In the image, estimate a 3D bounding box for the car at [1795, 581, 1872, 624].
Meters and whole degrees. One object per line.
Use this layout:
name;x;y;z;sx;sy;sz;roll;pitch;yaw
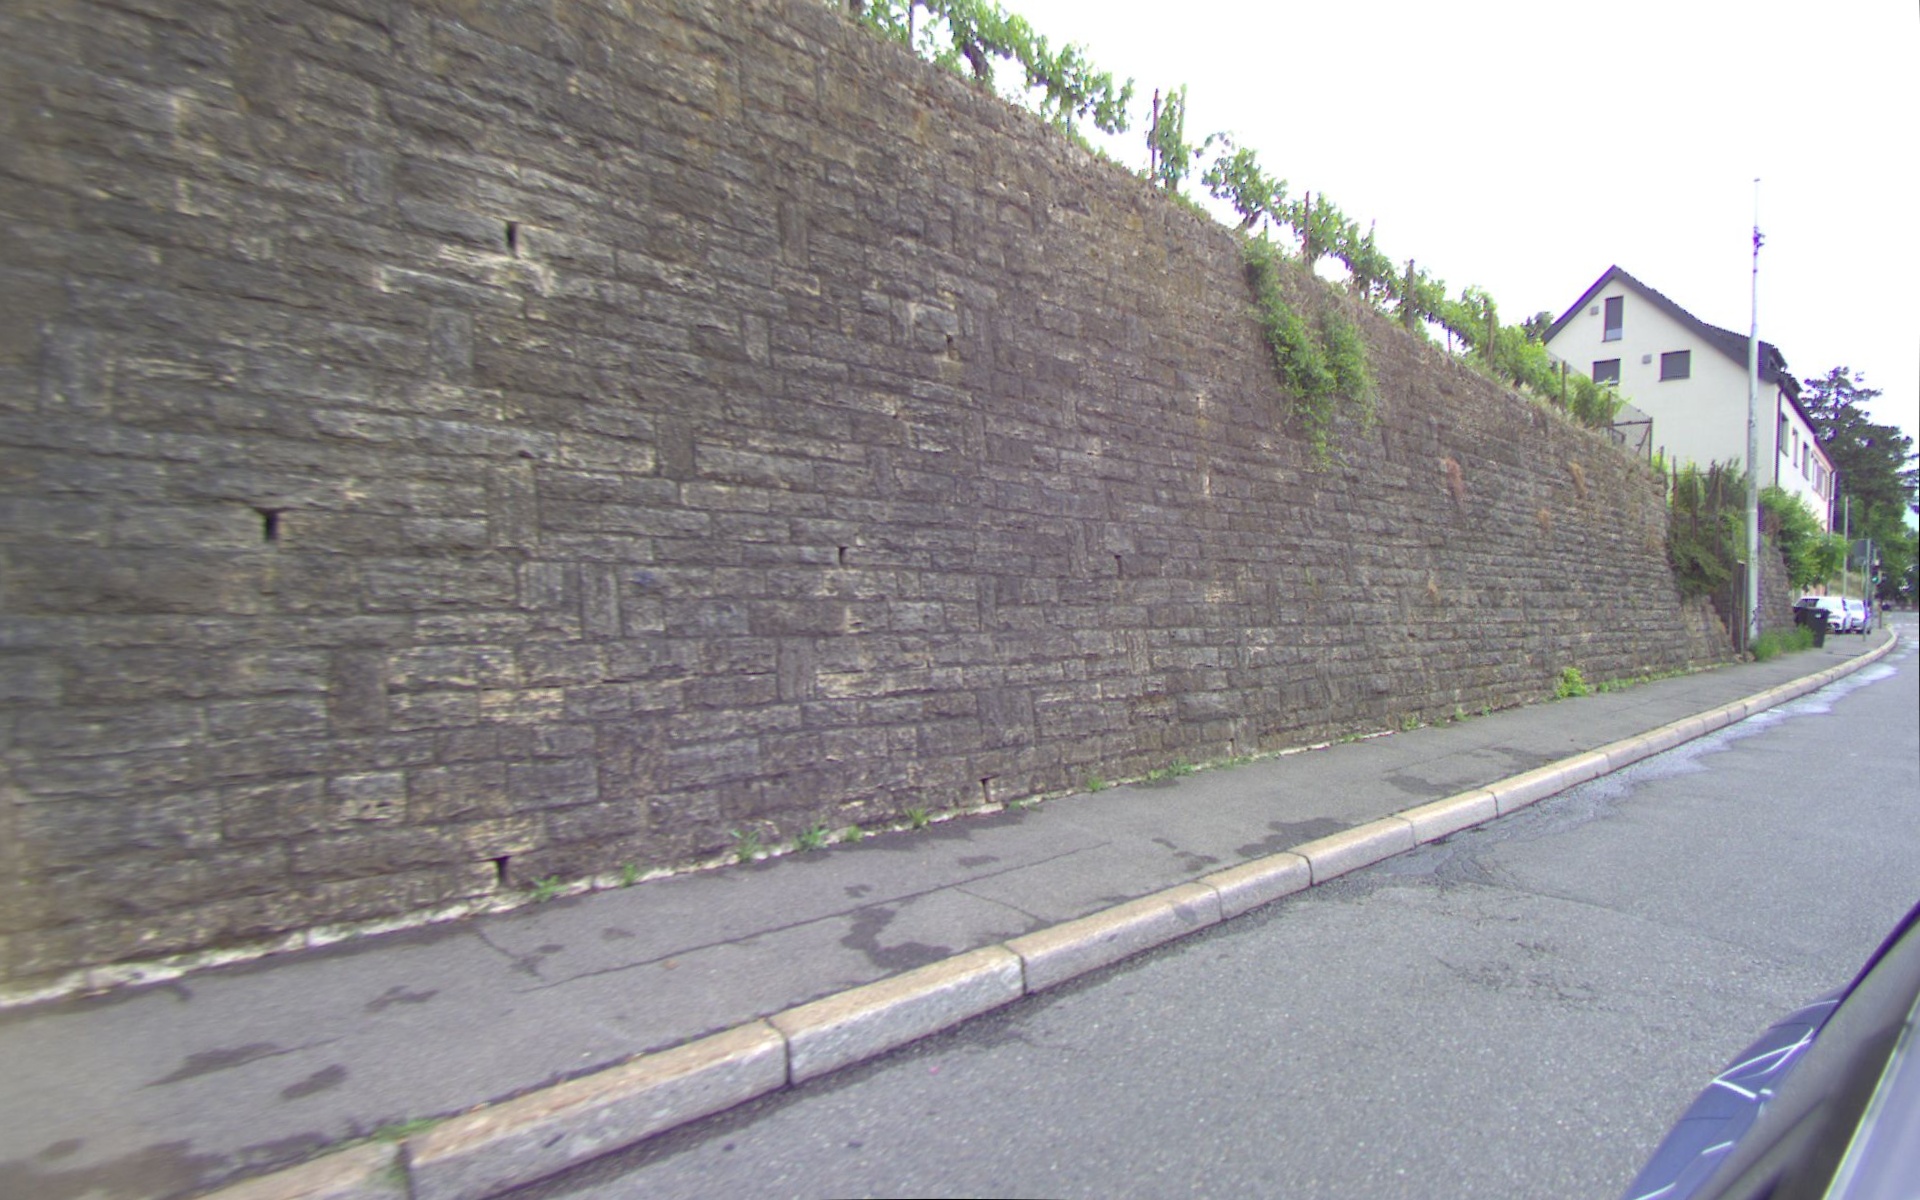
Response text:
car;33.862;0.059;39.201;3.986;1.594;1.797;-1;1;-42

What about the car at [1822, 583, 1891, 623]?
car;37.571;0.094;42.362;4.177;1.594;1.730;-1;1;-42

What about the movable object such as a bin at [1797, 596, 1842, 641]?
movable object such as a bin;22.903;0.478;26.968;0.860;1.140;0.810;0;1;-43
